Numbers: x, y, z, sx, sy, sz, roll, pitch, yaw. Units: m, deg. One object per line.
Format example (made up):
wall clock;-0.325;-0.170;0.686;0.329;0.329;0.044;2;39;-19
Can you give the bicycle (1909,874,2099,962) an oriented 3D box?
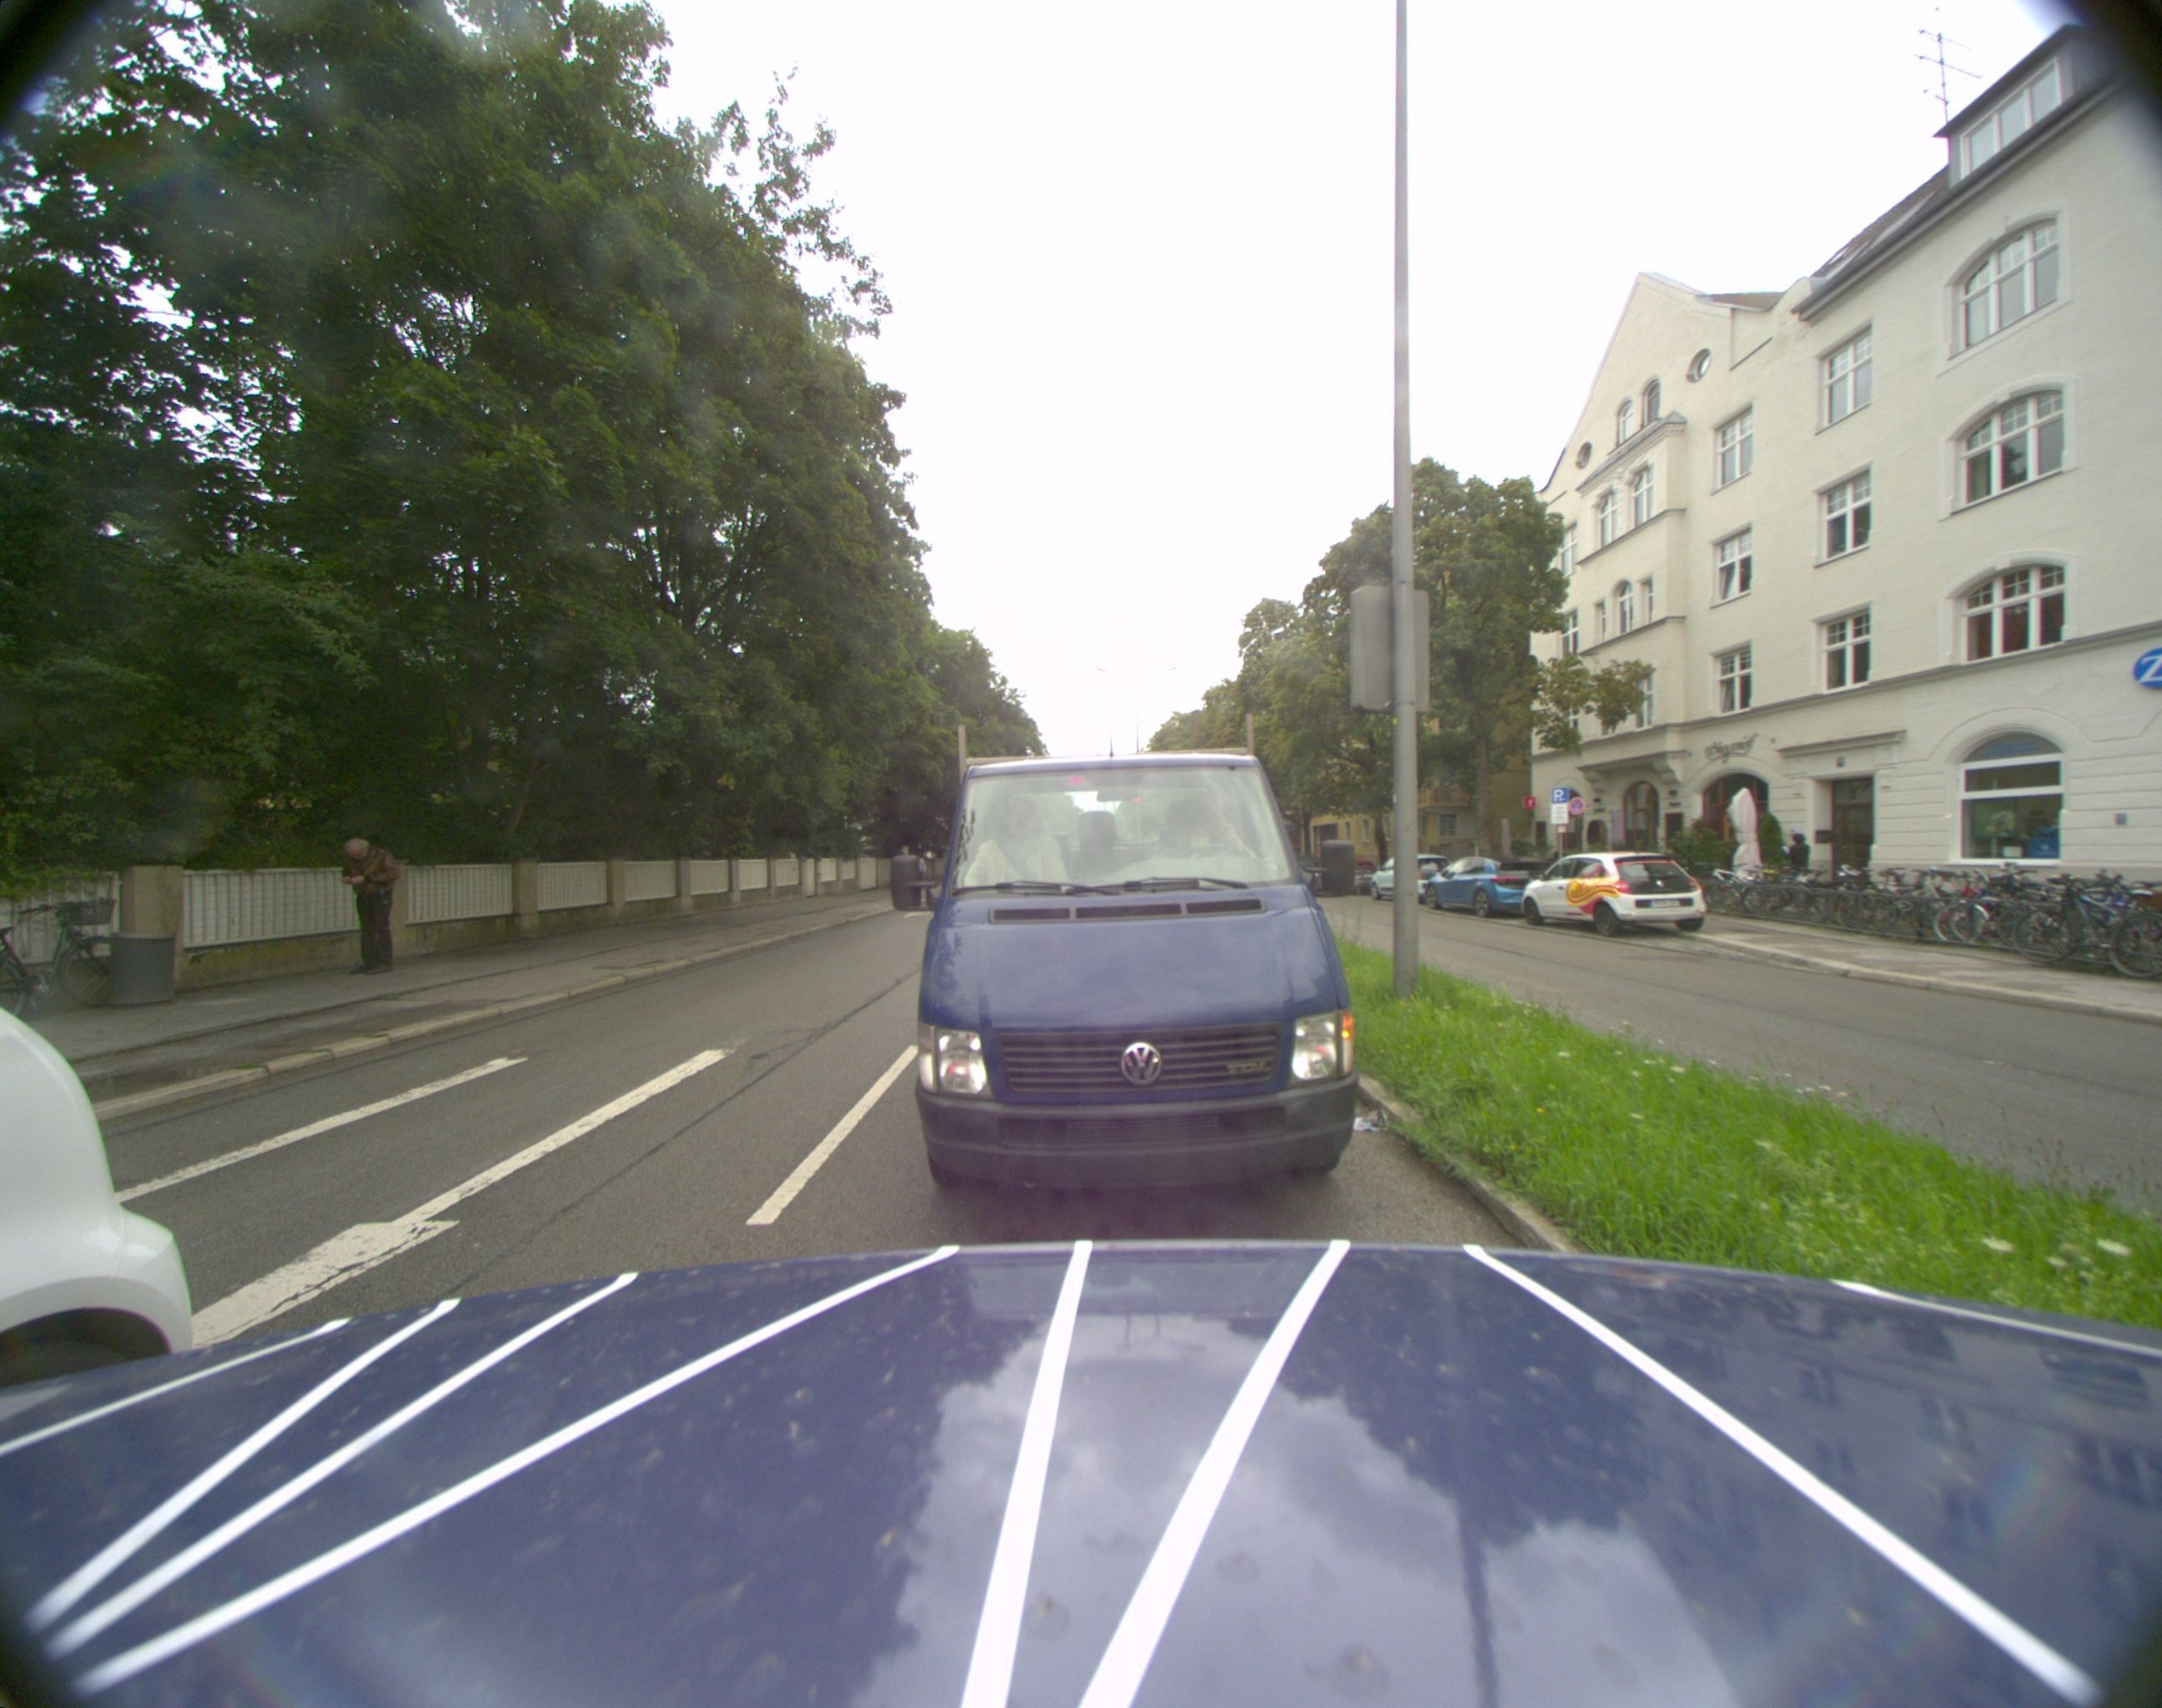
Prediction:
bicycle;13.077;0.863;10.834;0.383;1.109;1.678;-1;0;-23

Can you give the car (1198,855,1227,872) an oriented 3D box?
car;11.006;0.768;63.735;1.731;1.398;4.363;-1;0;1

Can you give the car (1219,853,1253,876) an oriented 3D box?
car;11.168;0.746;54.968;1.731;1.549;3.009;-1;0;-1

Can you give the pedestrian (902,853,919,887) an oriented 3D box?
pedestrian;-8.599;0.801;38.334;0.668;1.695;0.766;1;1;0

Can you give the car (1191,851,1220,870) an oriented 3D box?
car;11.371;0.539;69.697;1.883;1.636;4.770;-1;0;1

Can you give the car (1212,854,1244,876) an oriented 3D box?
car;11.365;0.816;59.089;1.731;1.552;4.057;-1;0;1

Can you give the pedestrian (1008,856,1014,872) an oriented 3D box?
pedestrian;-6.737;0.978;73.162;0.529;1.572;0.729;1;1;0

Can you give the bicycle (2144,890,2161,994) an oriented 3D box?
bicycle;12.097;0.948;7.599;0.331;1.109;1.678;-1;0;-23

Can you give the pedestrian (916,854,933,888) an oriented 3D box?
pedestrian;-7.919;0.839;38.372;0.668;1.695;0.766;1;1;0

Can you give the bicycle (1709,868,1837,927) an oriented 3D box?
bicycle;14.207;0.861;15.659;0.550;1.109;1.877;-1;0;-31

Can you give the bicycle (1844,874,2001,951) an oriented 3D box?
bicycle;13.446;0.892;12.208;0.331;1.109;1.678;-1;0;-23

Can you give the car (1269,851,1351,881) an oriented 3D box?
car;12.407;0.625;41.394;3.899;1.455;1.732;-2;0;-1

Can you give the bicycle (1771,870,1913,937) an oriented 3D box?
bicycle;14.007;0.875;14.058;0.331;1.109;1.871;-1;0;-23

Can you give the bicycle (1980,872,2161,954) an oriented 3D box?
bicycle;14.769;0.837;11.374;0.331;1.109;1.678;-1;0;-23

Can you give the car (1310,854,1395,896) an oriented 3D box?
car;10.795;0.779;30.561;1.815;1.498;4.645;-1;0;1

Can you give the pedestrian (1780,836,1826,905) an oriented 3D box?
pedestrian;17.177;0.382;18.090;0.422;1.622;0.783;-1;1;7

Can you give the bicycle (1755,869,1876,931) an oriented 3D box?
bicycle;14.211;0.857;14.760;0.331;1.109;1.677;-1;0;-27

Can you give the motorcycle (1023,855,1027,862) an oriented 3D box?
motorcycle;-8.925;0.694;121.536;0.497;1.135;1.631;-1;0;-10

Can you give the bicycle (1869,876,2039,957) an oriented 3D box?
bicycle;13.207;0.907;11.563;0.331;1.109;1.678;-1;0;-23

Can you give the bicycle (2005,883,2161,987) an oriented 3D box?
bicycle;12.105;0.927;8.846;0.368;1.109;1.678;-1;0;-23

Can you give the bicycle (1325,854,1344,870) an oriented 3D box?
bicycle;19.328;0.618;57.898;0.771;1.215;1.930;-1;0;0

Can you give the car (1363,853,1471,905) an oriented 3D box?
car;10.826;0.749;24.790;1.815;1.498;3.960;-1;0;1

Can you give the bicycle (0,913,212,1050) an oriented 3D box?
bicycle;-9.848;1.193;7.304;0.624;1.084;2.026;-1;0;0

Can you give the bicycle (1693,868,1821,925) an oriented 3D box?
bicycle;14.401;0.878;16.259;0.505;1.109;1.984;-1;0;-31

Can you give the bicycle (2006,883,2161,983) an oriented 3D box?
bicycle;12.424;0.931;9.108;0.331;1.109;1.678;-1;0;-23

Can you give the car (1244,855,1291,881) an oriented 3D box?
car;10.954;0.773;44.923;1.731;1.394;4.404;-1;0;1

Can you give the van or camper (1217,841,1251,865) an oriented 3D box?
van or camper;16.993;-0.115;84.773;2.351;2.564;6.851;-1;0;1

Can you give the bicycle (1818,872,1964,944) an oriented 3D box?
bicycle;13.631;0.876;12.848;0.331;1.109;1.678;-1;0;-23

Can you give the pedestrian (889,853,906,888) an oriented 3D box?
pedestrian;-9.255;0.830;38.344;0.668;1.695;0.766;1;1;0

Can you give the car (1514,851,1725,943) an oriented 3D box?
car;10.561;0.754;15.278;1.653;1.576;3.790;-1;0;2

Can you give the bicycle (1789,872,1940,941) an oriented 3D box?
bicycle;13.820;0.891;13.479;0.331;1.109;1.871;-1;0;-23

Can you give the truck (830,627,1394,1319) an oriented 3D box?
truck;0.154;0.432;5.318;1.998;2.475;5.151;-1;0;1

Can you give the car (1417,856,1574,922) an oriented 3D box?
car;10.683;0.832;19.996;1.815;1.498;4.291;-1;0;1

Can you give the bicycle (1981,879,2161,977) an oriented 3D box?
bicycle;12.666;0.896;9.571;0.367;1.109;1.678;-1;0;-23

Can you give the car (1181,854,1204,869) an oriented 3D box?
car;11.097;0.724;75.730;1.696;1.446;4.492;-1;0;1

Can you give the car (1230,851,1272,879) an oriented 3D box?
car;11.224;0.681;50.450;1.815;1.718;4.767;-1;0;1

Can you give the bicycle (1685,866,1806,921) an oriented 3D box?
bicycle;14.678;0.845;16.847;0.460;1.109;1.961;-1;0;-31

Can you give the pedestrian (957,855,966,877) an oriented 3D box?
pedestrian;-8.714;0.856;55.261;0.529;1.572;0.729;1;1;0

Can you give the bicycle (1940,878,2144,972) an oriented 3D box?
bicycle;12.855;0.905;10.238;0.331;1.109;1.678;-1;0;-23

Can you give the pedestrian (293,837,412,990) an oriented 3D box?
pedestrian;-9.556;0.747;10.003;0.779;1.931;0.802;0;1;1
